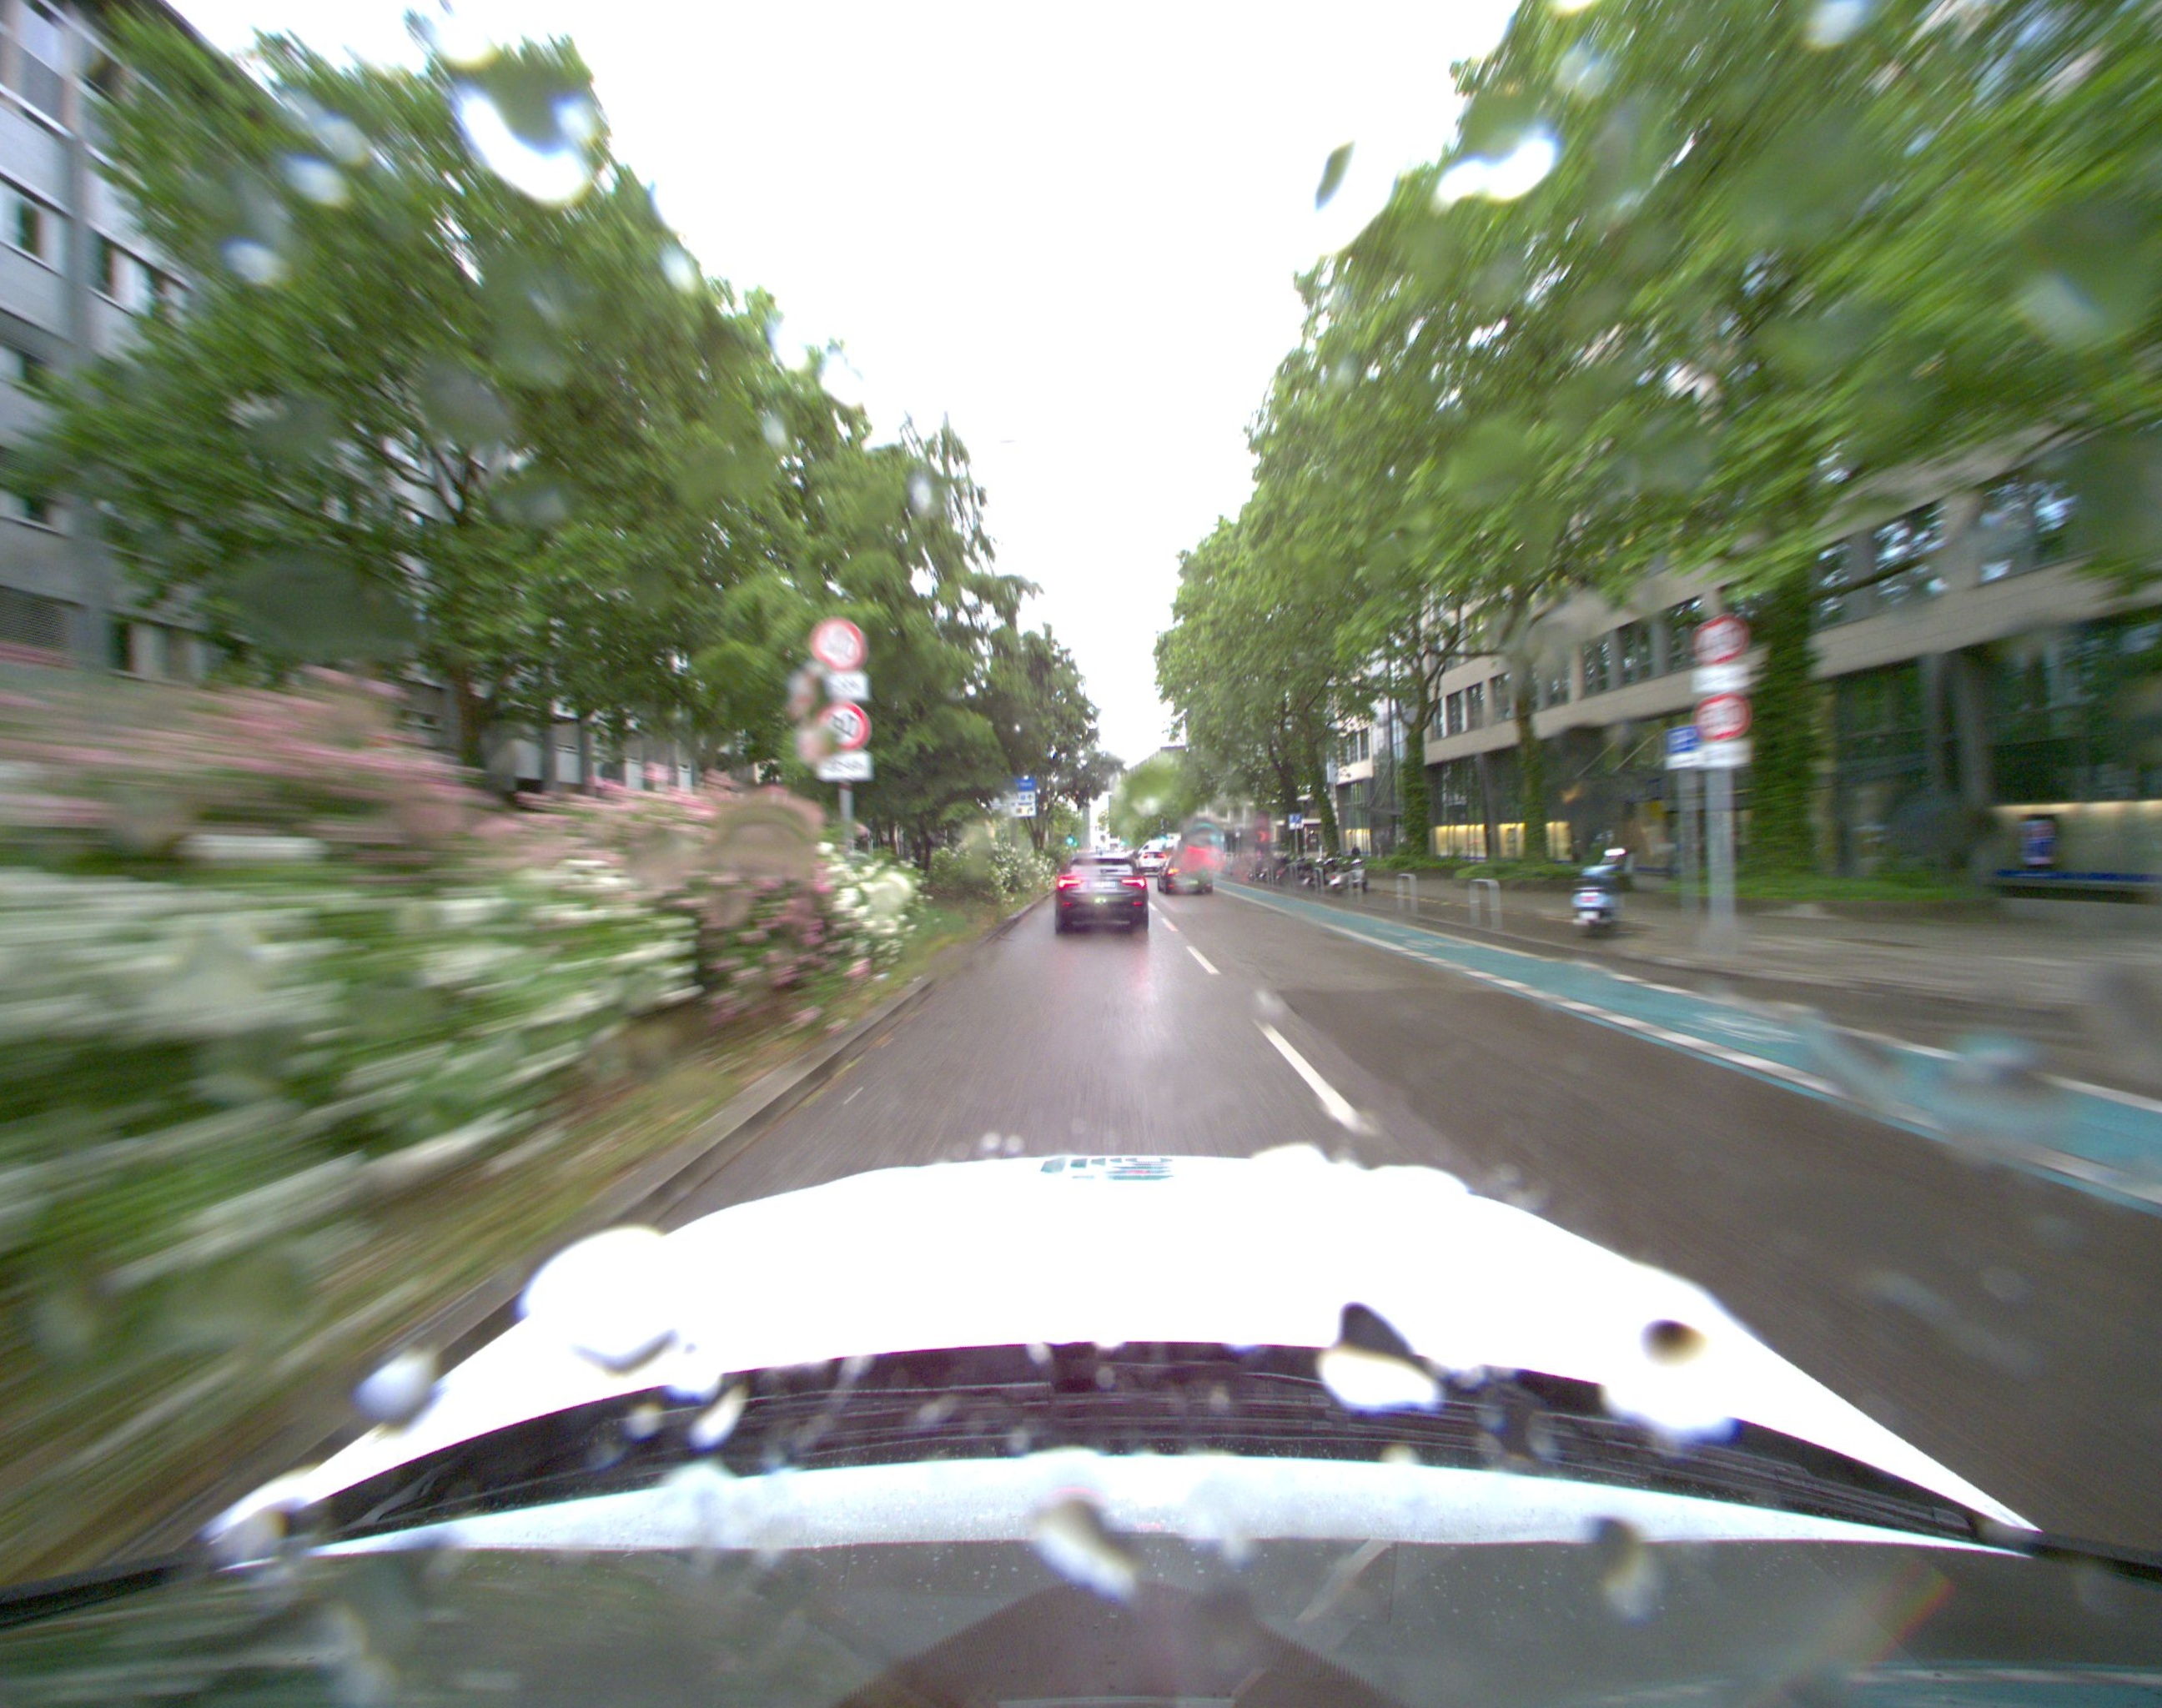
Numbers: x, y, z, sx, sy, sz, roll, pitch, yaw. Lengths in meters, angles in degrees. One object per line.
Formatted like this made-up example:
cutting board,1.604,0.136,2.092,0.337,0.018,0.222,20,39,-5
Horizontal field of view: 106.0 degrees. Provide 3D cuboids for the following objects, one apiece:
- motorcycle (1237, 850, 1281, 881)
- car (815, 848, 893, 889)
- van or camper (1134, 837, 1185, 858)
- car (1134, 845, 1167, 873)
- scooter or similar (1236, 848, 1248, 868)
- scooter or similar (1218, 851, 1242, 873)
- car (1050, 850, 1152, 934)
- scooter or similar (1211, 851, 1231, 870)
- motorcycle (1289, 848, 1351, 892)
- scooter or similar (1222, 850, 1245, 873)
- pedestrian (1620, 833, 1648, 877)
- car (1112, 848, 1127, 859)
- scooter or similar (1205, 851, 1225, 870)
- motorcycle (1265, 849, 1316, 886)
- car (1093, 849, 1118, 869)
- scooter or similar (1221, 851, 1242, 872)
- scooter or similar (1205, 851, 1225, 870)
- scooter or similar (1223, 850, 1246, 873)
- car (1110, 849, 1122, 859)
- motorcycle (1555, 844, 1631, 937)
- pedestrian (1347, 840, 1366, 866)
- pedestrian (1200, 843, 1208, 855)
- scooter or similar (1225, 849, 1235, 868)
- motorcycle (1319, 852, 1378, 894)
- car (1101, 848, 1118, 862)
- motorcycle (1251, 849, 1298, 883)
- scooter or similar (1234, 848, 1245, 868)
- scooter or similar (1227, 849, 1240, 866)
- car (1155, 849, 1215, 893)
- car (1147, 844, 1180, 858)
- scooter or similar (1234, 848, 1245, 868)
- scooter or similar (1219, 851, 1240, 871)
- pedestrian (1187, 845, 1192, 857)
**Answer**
motorcycle,8.812,0.552,40.306,1.959,1.373,0.725,-3,2,-15
car,-9.087,0.533,32.997,1.721,1.428,4.499,-4,0,2
van or camper,9.985,-0.827,103.663,6.008,2.558,2.117,-1,0,28
car,4.399,0.282,51.869,1.843,1.669,4.040,-1,0,1
scooter or similar,11.044,0.265,55.874,0.486,1.259,1.294,-3,2,1
scooter or similar,9.276,0.466,50.622,1.289,1.278,0.535,-3,2,-10
car,0.393,0.700,17.089,1.843,1.523,4.039,-1,0,0
scooter or similar,9.731,0.433,56.422,1.280,1.259,0.491,-2,2,13
motorcycle,8.575,0.550,29.206,2.061,1.428,0.724,-3,2,-20
scooter or similar,9.332,0.461,49.937,1.283,1.278,0.538,-3,2,5
pedestrian,21.750,0.031,32.020,0.720,1.693,0.833,-2,1,44
car,5.202,-0.090,110.675,1.843,1.523,4.040,-1,0,1
scooter or similar,9.371,0.441,56.960,1.280,1.259,0.491,-2,2,13
motorcycle,8.644,0.546,33.600,1.962,1.373,0.724,-3,2,-20
car,1.945,0.354,65.162,1.843,1.523,4.040,-1,0,1
scooter or similar,9.752,0.477,52.754,1.284,1.235,0.490,-3,2,3
scooter or similar,9.463,0.444,57.570,1.280,1.259,0.491,-2,2,13
scooter or similar,9.337,0.457,49.493,1.283,1.278,0.538,-3,2,5
car,5.538,0.019,129.112,1.843,1.523,4.040,-1,0,1
motorcycle,8.556,0.578,13.574,0.676,1.367,1.958,-5,-1,41
pedestrian,19.525,-0.064,57.713,0.914,1.850,1.277,-1,-1,1
pedestrian,17.137,-0.682,113.579,0.803,1.696,1.186,-1,0,-3
scooter or similar,10.516,0.283,57.587,0.486,1.259,1.294,-3,2,1
motorcycle,8.830,0.625,26.849,2.069,1.212,0.677,-4,0,-35
car,3.211,0.074,93.270,1.843,1.523,4.040,-1,0,1
motorcycle,8.814,0.528,37.031,1.962,1.373,0.724,-3,2,-20
scooter or similar,10.635,0.260,54.648,0.486,1.259,1.294,-3,2,1
scooter or similar,10.941,0.285,58.437,0.487,1.198,1.290,-1,-1,-8
car,3.872,0.584,30.832,1.843,1.523,4.040,-1,0,1
car,9.853,-0.371,97.516,3.618,1.547,1.723,-1,0,20
scooter or similar,10.635,0.260,54.648,0.486,1.259,1.294,-3,2,1
scooter or similar,9.768,0.483,53.499,1.284,1.235,0.490,-3,2,3
pedestrian,16.272,-0.434,122.119,0.551,1.805,0.761,-1,-1,-2
